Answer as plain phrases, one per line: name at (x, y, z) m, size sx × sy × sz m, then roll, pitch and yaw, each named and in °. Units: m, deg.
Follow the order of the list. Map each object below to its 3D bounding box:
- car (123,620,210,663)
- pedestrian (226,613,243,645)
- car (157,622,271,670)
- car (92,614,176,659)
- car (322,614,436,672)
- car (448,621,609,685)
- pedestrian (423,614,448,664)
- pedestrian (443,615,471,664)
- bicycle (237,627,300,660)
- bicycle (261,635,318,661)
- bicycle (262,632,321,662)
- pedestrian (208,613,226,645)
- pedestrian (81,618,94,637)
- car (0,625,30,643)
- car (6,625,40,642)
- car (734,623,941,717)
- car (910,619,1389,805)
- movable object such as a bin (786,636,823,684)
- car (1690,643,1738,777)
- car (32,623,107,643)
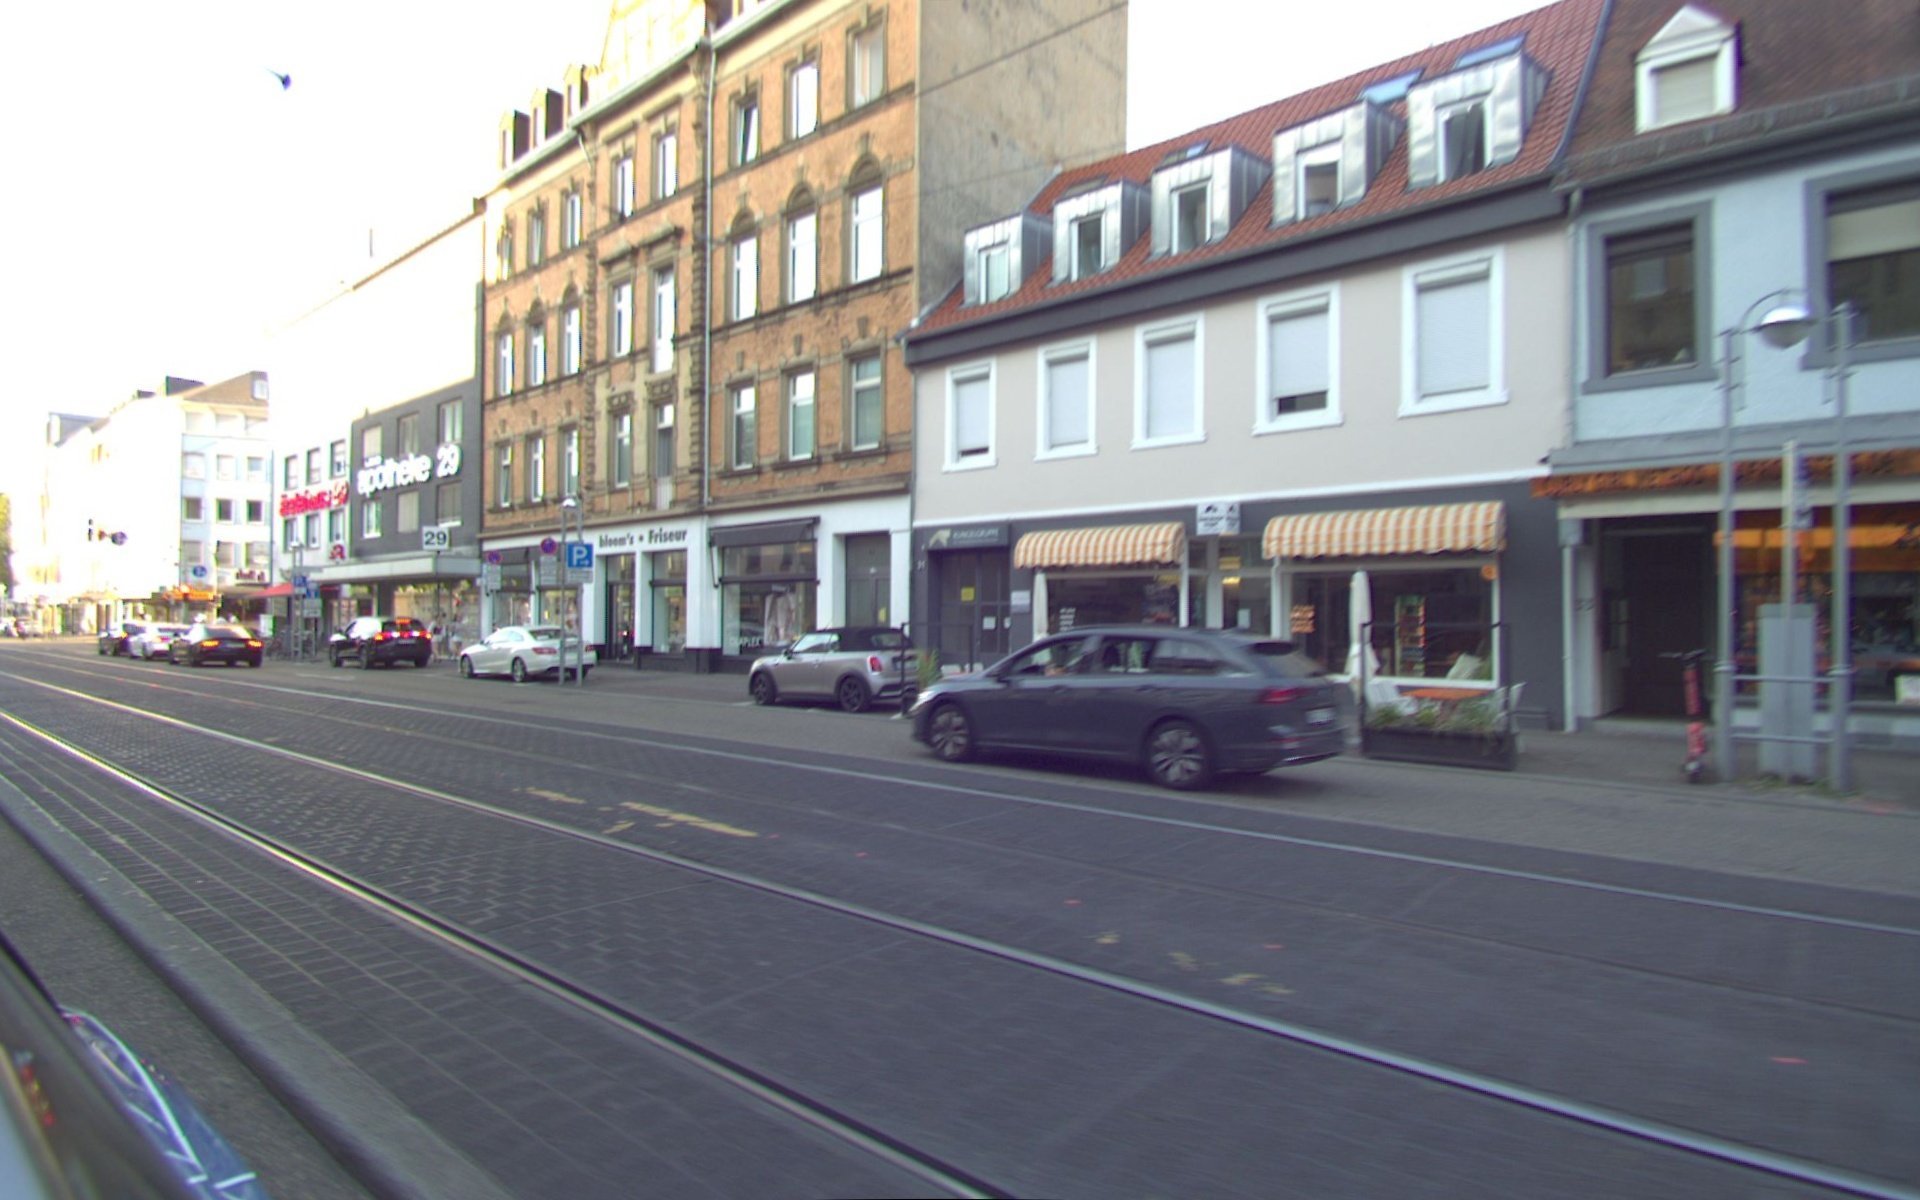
car at (-30.022, 1.546, 38.235) m, size 4.658 × 1.464 × 1.971 m, roll -1°, pitch -3°, yaw 45°
pedestrian at (-41.399, 1.650, 57.729) m, size 0.599 × 1.792 × 0.630 m, roll -1°, pitch -1°, yaw 36°
car at (-24.718, 1.483, 33.467) m, size 4.645 × 1.464 × 1.973 m, roll -1°, pitch -3°, yaw 40°
car at (-34.493, 1.516, 42.235) m, size 4.726 × 1.740 × 1.972 m, roll -1°, pitch -4°, yaw 42°
car at (-18.750, 1.338, 32.565) m, size 4.646 × 1.687 × 1.909 m, roll -2°, pitch -1°, yaw 43°
car at (-11.302, 1.312, 26.359) m, size 4.603 × 1.464 × 1.851 m, roll -1°, pitch 0°, yaw 38°
pedestrian at (-18.111, 1.342, 34.950) m, size 0.602 × 1.712 × 0.614 m, roll -2°, pitch -2°, yaw 41°
pedestrian at (-17.562, 1.372, 35.347) m, size 0.624 × 1.673 × 0.675 m, roll -2°, pitch -2°, yaw 41°
bicycle at (-28.768, 1.798, 42.156) m, size 0.553 × 1.233 × 2.090 m, roll 1°, pitch 2°, yaw 41°
bicycle at (-26.245, 1.878, 39.662) m, size 0.455 × 0.919 × 1.786 m, roll -3°, pitch -1°, yaw 41°
bicycle at (-25.828, 1.798, 39.145) m, size 0.489 × 1.055 × 1.812 m, roll -3°, pitch -1°, yaw 41°
pedestrian at (-41.883, 1.620, 57.069) m, size 0.667 × 1.758 × 0.630 m, roll -1°, pitch -1°, yaw 36°
pedestrian at (-71.237, 2.257, 82.664) m, size 0.621 × 1.483 × 0.539 m, roll -2°, pitch 1°, yaw 25°
car at (-77.480, 2.816, 82.861) m, size 3.387 × 1.364 × 1.615 m, roll -2°, pitch 0°, yaw 41°
car at (-74.299, 2.634, 80.254) m, size 3.387 × 1.263 × 1.615 m, roll -2°, pitch 0°, yaw 41°
car at (-2.273, 1.170, 18.245) m, size 3.811 × 1.451 × 1.581 m, roll -1°, pitch 0°, yaw 42°
car at (1.700, 0.950, 10.084) m, size 4.461 × 1.464 × 1.674 m, roll -1°, pitch -3°, yaw 40°
movable object such as a bin at (-3.560, 1.360, 23.100) m, size 0.659 × 1.051 × 0.512 m, roll -1°, pitch 0°, yaw 40°
car at (7.411, 1.051, 9.939) m, size 0.339 × 1.244 × 0.776 m, roll -1°, pitch -2°, yaw 39°
car at (-59.484, 2.197, 67.638) m, size 1.593 × 1.344 × 3.452 m, roll -1°, pitch -2°, yaw 32°
